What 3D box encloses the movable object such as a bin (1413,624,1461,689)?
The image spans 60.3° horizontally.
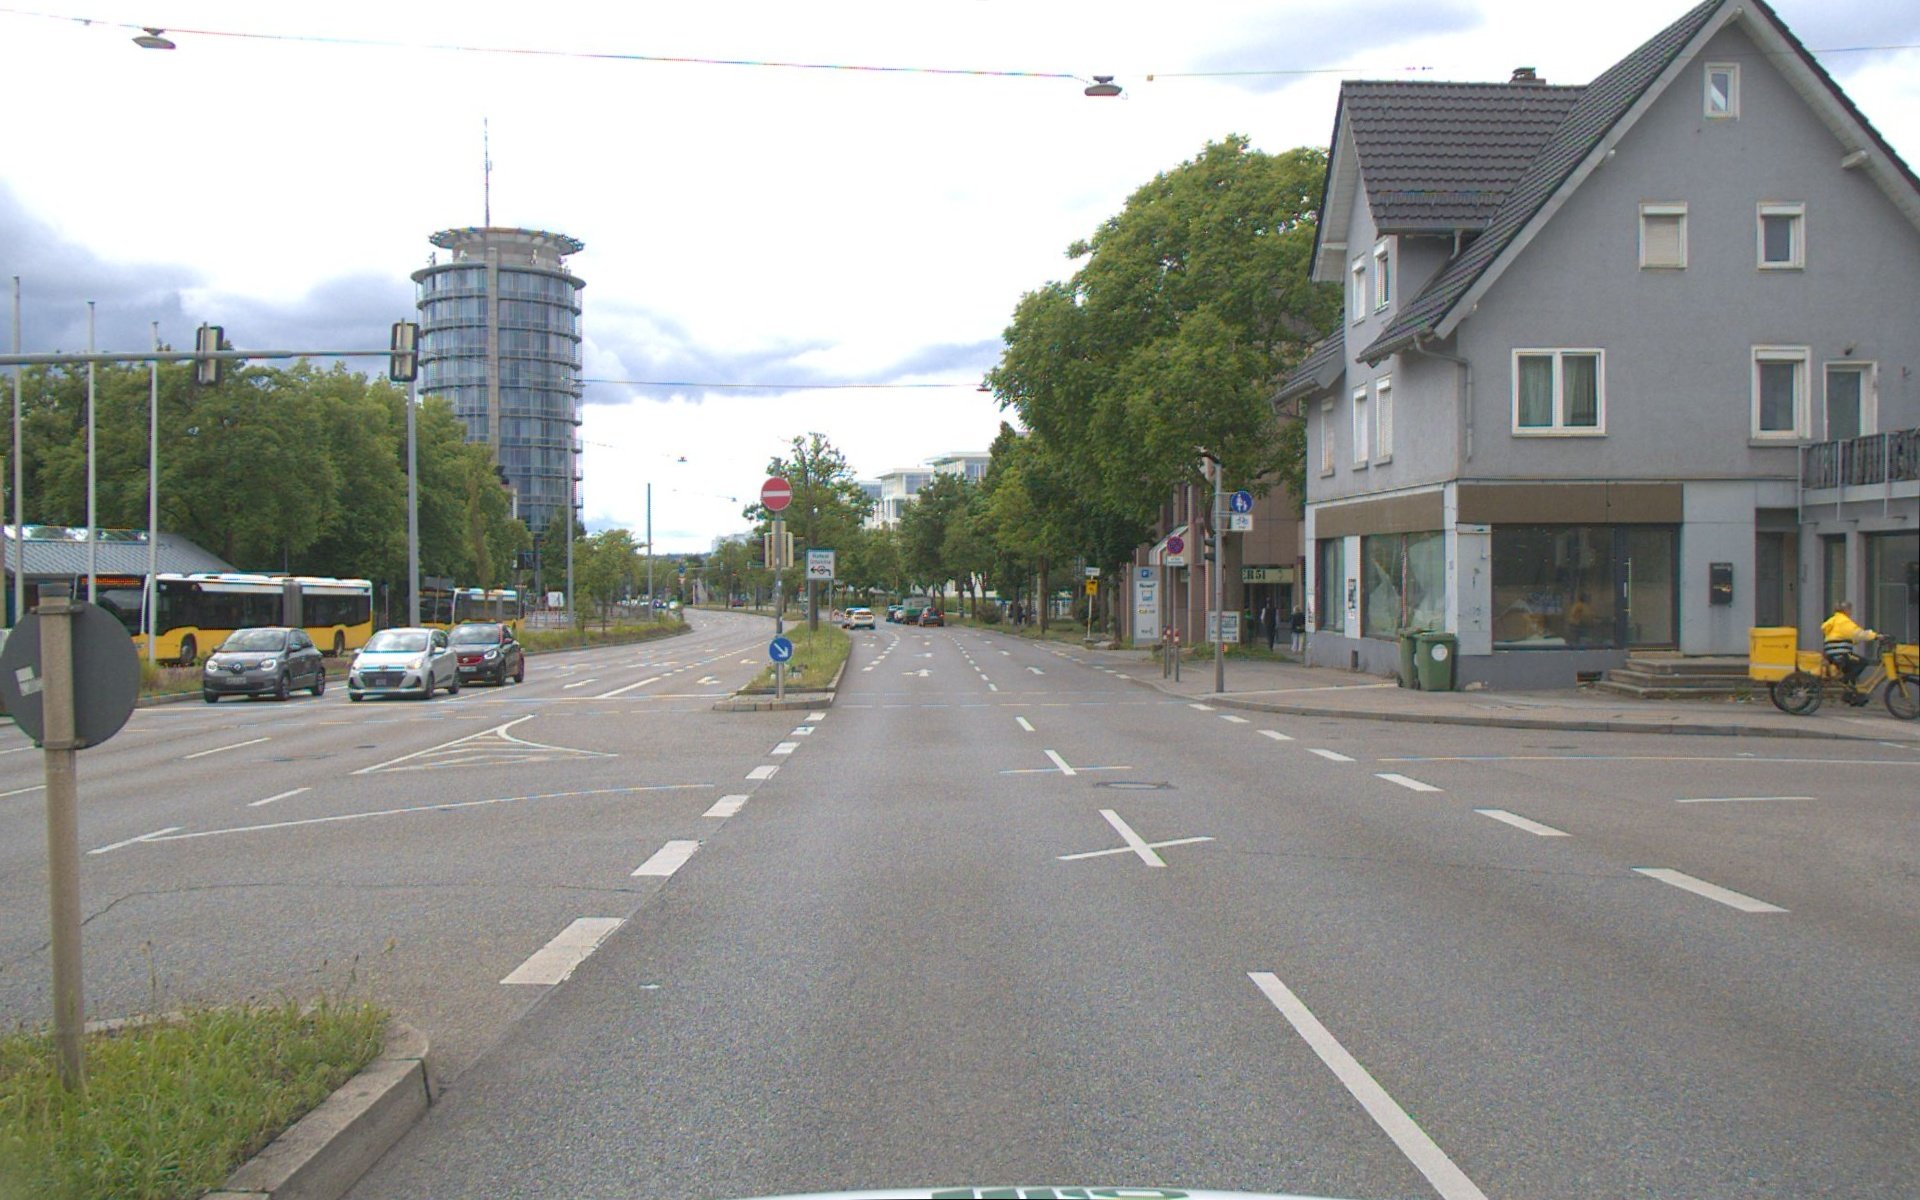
[{"bbox_3d":[8.338,0.978,28.945,0.613,1.123,0.709,0,0,-2],"label":"movable object such as a bin"}]

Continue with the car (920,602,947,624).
[{"bbox_3d":[-2.103,1.020,129.507,1.954,1.624,3.998,-1,0,-3],"label":"car"}]

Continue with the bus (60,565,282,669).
[{"bbox_3d":[-26.554,0.549,56.300,2.718,3.187,9.440,1,0,2],"label":"bus"}]

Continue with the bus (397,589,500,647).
[{"bbox_3d":[-30.079,1.030,97.766,3.021,3.218,10.732,1,0,-2],"label":"bus"}]

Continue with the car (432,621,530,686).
[{"bbox_3d":[-12.001,1.303,41.618,1.626,1.534,3.765,-1,-1,-5],"label":"car"}]

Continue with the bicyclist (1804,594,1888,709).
[{"bbox_3d":[13.018,0.734,24.339,0.915,1.626,0.963,2,1,20],"label":"bicyclist"}]

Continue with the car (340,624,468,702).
[{"bbox_3d":[-11.945,1.319,35.773,1.711,1.491,3.787,0,1,-4],"label":"car"}]

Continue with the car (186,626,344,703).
[{"bbox_3d":[-15.090,1.363,36.148,1.778,1.534,3.999,-1,-1,-1],"label":"car"}]

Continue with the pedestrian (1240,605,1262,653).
[{"bbox_3d":[9.907,0.985,56.327,0.550,1.577,0.544,-2,-1,-2],"label":"pedestrian"}]

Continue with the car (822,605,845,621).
[{"bbox_3d":[-12.057,1.263,157.794,1.953,1.534,3.999,0,-1,-1],"label":"car"}]

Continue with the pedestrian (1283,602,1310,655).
[{"bbox_3d":[11.125,0.934,54.736,0.644,1.720,0.842,-2,-1,-1],"label":"pedestrian"}]

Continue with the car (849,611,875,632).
[{"bbox_3d":[-7.389,1.621,124.714,1.827,1.474,3.995,-1,-1,-6],"label":"car"}]

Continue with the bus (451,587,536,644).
[{"bbox_3d":[-30.362,0.982,108.139,2.970,3.516,9.907,1,0,-1],"label":"bus"}]

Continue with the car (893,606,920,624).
[{"bbox_3d":[-4.890,1.344,149.716,1.957,1.534,3.992,-1,0,-9],"label":"car"}]

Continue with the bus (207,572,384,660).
[{"bbox_3d":[-26.145,0.605,65.666,2.750,3.187,9.303,1,0,3],"label":"bus"}]

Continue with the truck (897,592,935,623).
[{"bbox_3d":[-3.837,0.643,142.380,2.804,2.563,6.279,-1,-1,-5],"label":"truck"}]

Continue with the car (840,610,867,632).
[{"bbox_3d":[-8.439,1.655,130.545,1.955,1.701,3.995,-1,-1,-5],"label":"car"}]

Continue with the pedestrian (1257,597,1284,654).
[{"bbox_3d":[10.280,0.833,54.803,0.644,1.858,0.842,-2,-1,-1],"label":"pedestrian"}]

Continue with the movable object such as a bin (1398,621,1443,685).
[{"bbox_3d":[8.272,0.951,29.749,0.596,1.123,0.709,0,0,-2],"label":"movable object such as a bin"}]

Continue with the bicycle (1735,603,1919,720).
[{"bbox_3d":[12.947,0.883,24.298,2.619,1.534,0.964,2,4,13],"label":"bicycle"}]
